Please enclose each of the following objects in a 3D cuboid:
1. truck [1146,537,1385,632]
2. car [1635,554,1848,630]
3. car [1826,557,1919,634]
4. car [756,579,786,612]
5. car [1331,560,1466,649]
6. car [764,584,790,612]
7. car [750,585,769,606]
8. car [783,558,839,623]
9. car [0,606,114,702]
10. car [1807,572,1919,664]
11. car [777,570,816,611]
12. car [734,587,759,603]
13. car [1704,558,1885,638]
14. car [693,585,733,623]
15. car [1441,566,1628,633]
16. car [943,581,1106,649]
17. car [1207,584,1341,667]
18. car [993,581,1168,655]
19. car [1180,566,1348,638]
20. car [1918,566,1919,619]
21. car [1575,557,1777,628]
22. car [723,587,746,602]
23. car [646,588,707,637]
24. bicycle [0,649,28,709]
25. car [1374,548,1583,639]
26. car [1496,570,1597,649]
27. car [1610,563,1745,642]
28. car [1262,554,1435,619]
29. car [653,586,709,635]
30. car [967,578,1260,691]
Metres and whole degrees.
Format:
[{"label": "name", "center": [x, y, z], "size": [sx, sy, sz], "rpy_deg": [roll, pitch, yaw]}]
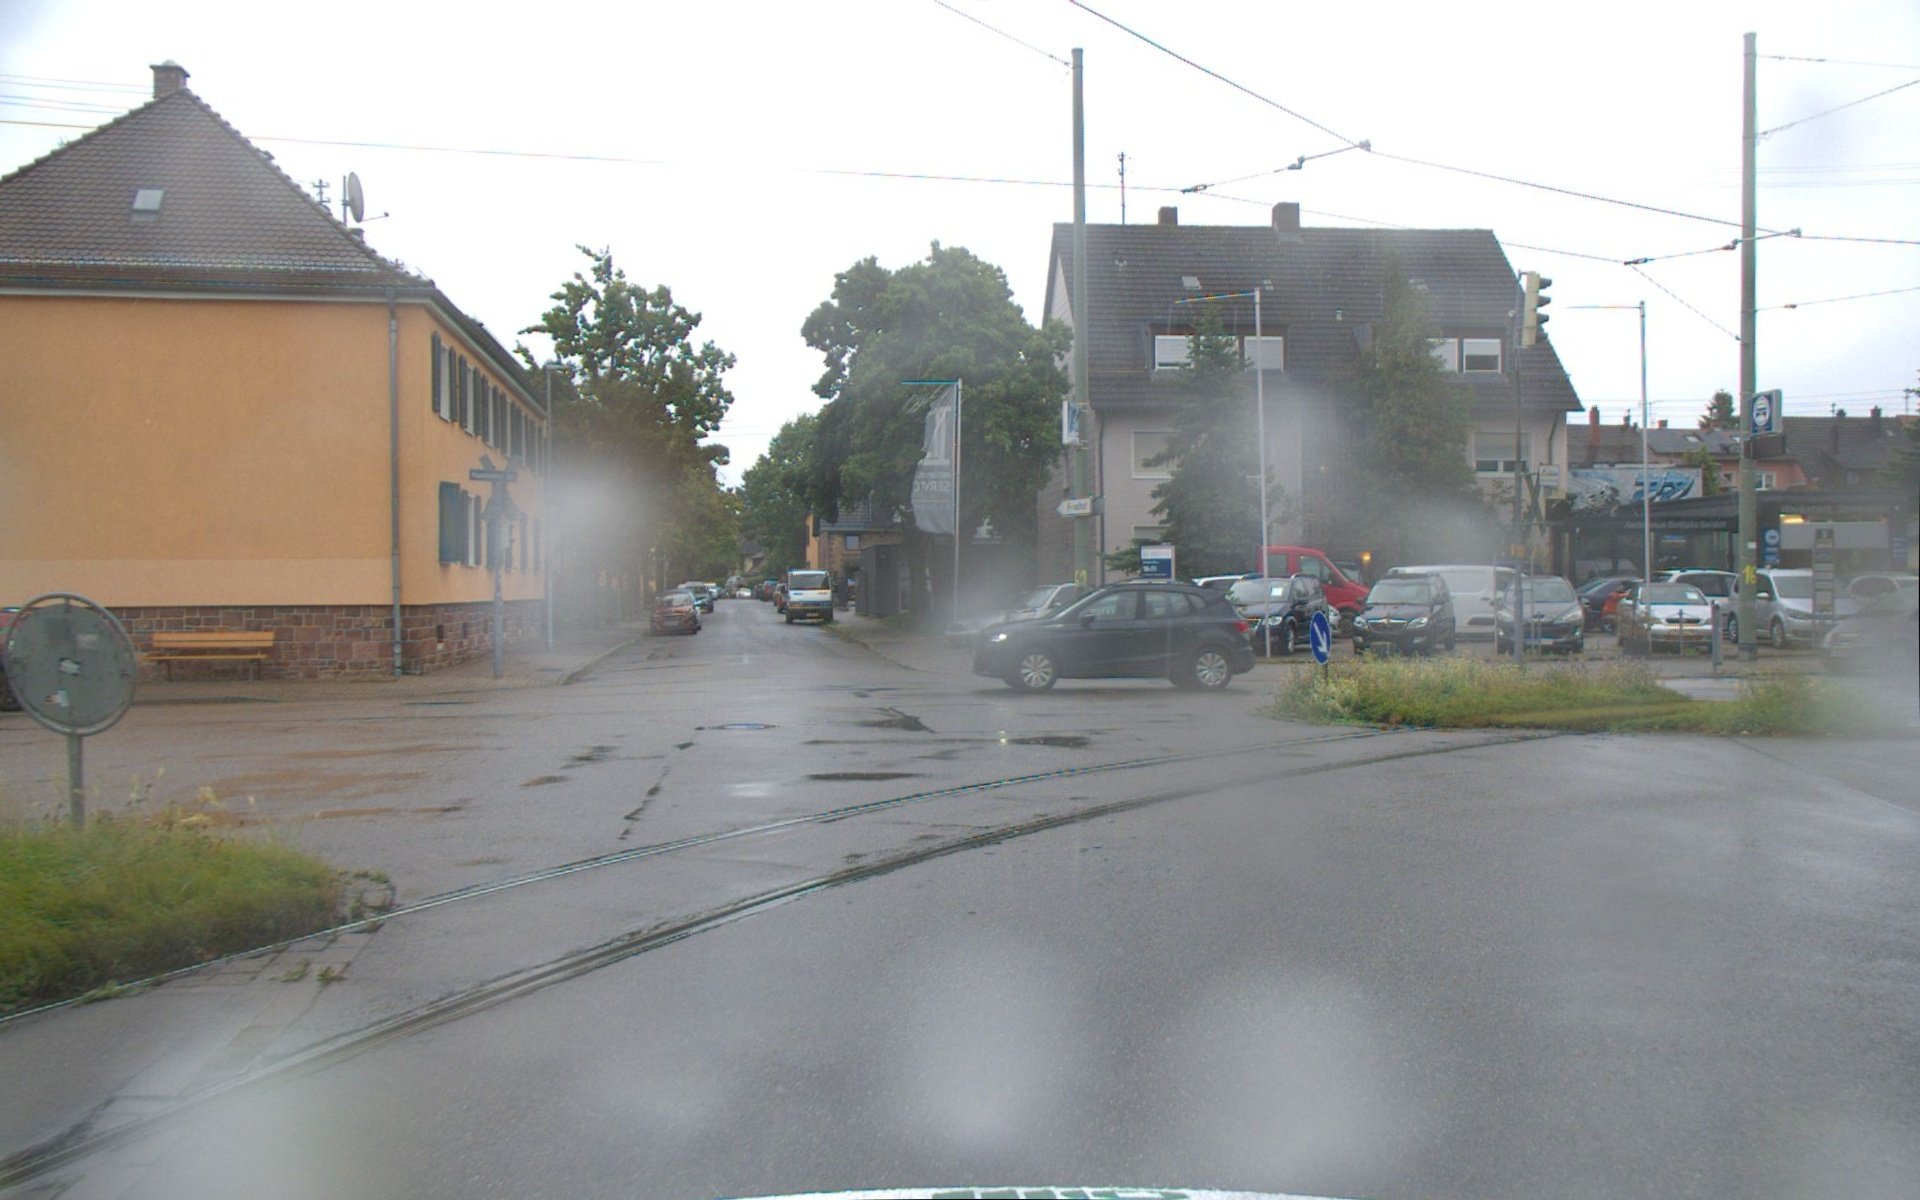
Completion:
[{"label": "truck", "center": [7.974, -0.372, 43.115], "size": [5.953, 2.312, 2.001], "rpy_deg": [-1, -1, 14]}, {"label": "car", "center": [18.894, -0.188, 40.076], "size": [4.345, 1.717, 1.759], "rpy_deg": [-1, -1, -4]}, {"label": "car", "center": [20.887, -0.078, 36.364], "size": [1.683, 1.600, 3.615], "rpy_deg": [1, 0, -2]}, {"label": "car", "center": [-12.345, -0.291, 107.743], "size": [1.794, 2.049, 3.993], "rpy_deg": [1, 0, -8]}, {"label": "car", "center": [9.237, 0.077, 34.645], "size": [1.954, 1.747, 3.996], "rpy_deg": [-1, 0, 26]}, {"label": "car", "center": [-14.057, -0.167, 126.841], "size": [1.794, 2.049, 3.993], "rpy_deg": [1, 0, -8]}, {"label": "car", "center": [-20.874, -0.464, 172.067], "size": [1.794, 2.049, 3.993], "rpy_deg": [1, 0, -8]}, {"label": "car", "center": [-6.423, -0.409, 70.847], "size": [2.113, 2.617, 4.126], "rpy_deg": [1, 0, -8]}, {"label": "car", "center": [-14.959, 0.775, 24.904], "size": [3.538, 1.362, 1.719], "rpy_deg": [1, 0, -9]}, {"label": "car", "center": [16.927, 0.327, 28.753], "size": [3.562, 1.530, 1.720], "rpy_deg": [1, 0, -7]}, {"label": "car", "center": [-8.601, -0.491, 87.102], "size": [1.955, 2.049, 3.995], "rpy_deg": [1, 0, -6]}, {"label": "car", "center": [-24.563, -0.608, 190.049], "size": [1.803, 1.727, 4.005], "rpy_deg": [1, 0, -22]}, {"label": "car", "center": [17.997, -0.059, 35.868], "size": [1.766, 1.606, 3.869], "rpy_deg": [-1, 0, -4]}, {"label": "car", "center": [-13.783, 0.202, 92.468], "size": [1.955, 2.049, 3.995], "rpy_deg": [1, 0, -6]}, {"label": "car", "center": [15.543, -0.012, 44.890], "size": [4.345, 1.717, 1.998], "rpy_deg": [-1, -1, -4]}, {"label": "car", "center": [1.658, 0.371, 42.621], "size": [3.811, 1.606, 1.793], "rpy_deg": [-2, 0, -26]}, {"label": "car", "center": [6.685, 0.511, 34.912], "size": [1.766, 1.606, 3.868], "rpy_deg": [-1, 0, 26]}, {"label": "car", "center": [2.887, 0.410, 39.609], "size": [3.811, 1.606, 1.793], "rpy_deg": [-2, 0, -26]}, {"label": "car", "center": [7.442, 0.064, 40.340], "size": [3.881, 1.626, 2.001], "rpy_deg": [-1, -1, 14]}, {"label": "car", "center": [31.650, -0.268, 50.831], "size": [4.381, 1.608, 1.778], "rpy_deg": [-1, -1, -28]}, {"label": "car", "center": [18.392, -0.174, 42.599], "size": [4.345, 1.717, 1.998], "rpy_deg": [-1, -1, -4]}, {"label": "car", "center": [-26.618, -0.674, 195.353], "size": [1.803, 1.727, 4.005], "rpy_deg": [1, 0, -22]}, {"label": "car", "center": [-9.926, 0.432, 58.124], "size": [1.956, 1.646, 3.993], "rpy_deg": [-1, 0, -8]}, {"label": "bicycle", "center": [-14.226, 1.127, 23.185], "size": [1.779, 0.800, 0.941], "rpy_deg": [-2, 0, -8]}, {"label": "car", "center": [12.366, -0.139, 39.639], "size": [4.345, 2.049, 1.998], "rpy_deg": [-1, -1, -4]}, {"label": "car", "center": [12.420, 0.188, 34.876], "size": [1.790, 1.530, 4.057], "rpy_deg": [1, 0, 22]}, {"label": "car", "center": [15.126, 0.047, 35.078], "size": [1.788, 1.530, 4.062], "rpy_deg": [1, 0, 11]}, {"label": "car", "center": [10.897, -0.356, 46.551], "size": [4.345, 1.717, 1.998], "rpy_deg": [-1, -1, -4]}, {"label": "car", "center": [-10.566, 0.407, 62.767], "size": [1.956, 1.780, 3.993], "rpy_deg": [-1, 0, -8]}, {"label": "car", "center": [2.168, 0.468, 24.071], "size": [3.911, 1.502, 1.997], "rpy_deg": [-1, 0, -8]}]
